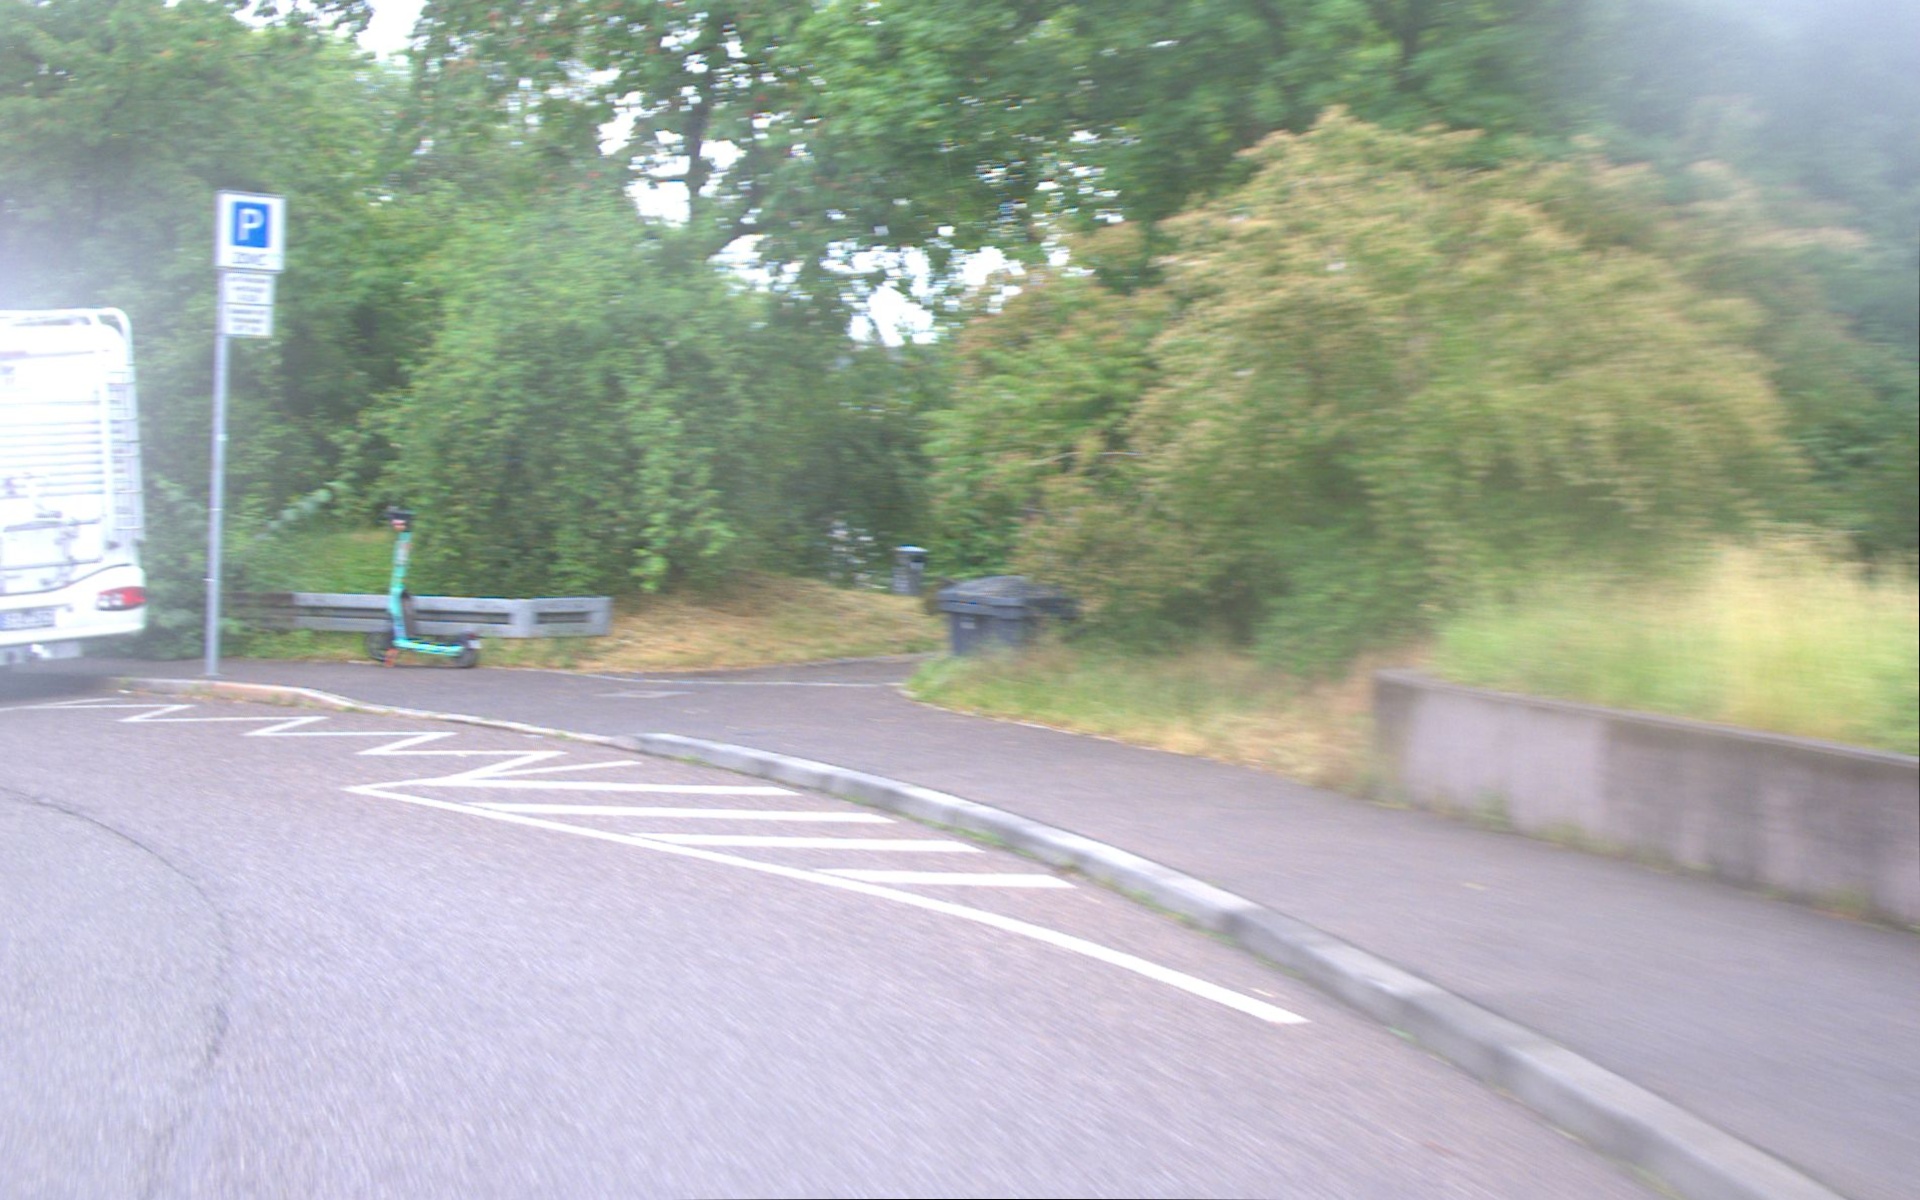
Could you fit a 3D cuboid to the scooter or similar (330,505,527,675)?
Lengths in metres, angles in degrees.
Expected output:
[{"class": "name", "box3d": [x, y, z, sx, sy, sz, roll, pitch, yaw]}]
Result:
[{"class": "scooter or similar", "box3d": [-4.127, -0.083, 26.622, 1.708, 1.278, 0.451, 0, 2, 39]}]

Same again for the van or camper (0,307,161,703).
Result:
[{"class": "van or camper", "box3d": [-9.487, -0.778, 27.764, 6.274, 2.933, 2.393, 1, 5, 38]}]
